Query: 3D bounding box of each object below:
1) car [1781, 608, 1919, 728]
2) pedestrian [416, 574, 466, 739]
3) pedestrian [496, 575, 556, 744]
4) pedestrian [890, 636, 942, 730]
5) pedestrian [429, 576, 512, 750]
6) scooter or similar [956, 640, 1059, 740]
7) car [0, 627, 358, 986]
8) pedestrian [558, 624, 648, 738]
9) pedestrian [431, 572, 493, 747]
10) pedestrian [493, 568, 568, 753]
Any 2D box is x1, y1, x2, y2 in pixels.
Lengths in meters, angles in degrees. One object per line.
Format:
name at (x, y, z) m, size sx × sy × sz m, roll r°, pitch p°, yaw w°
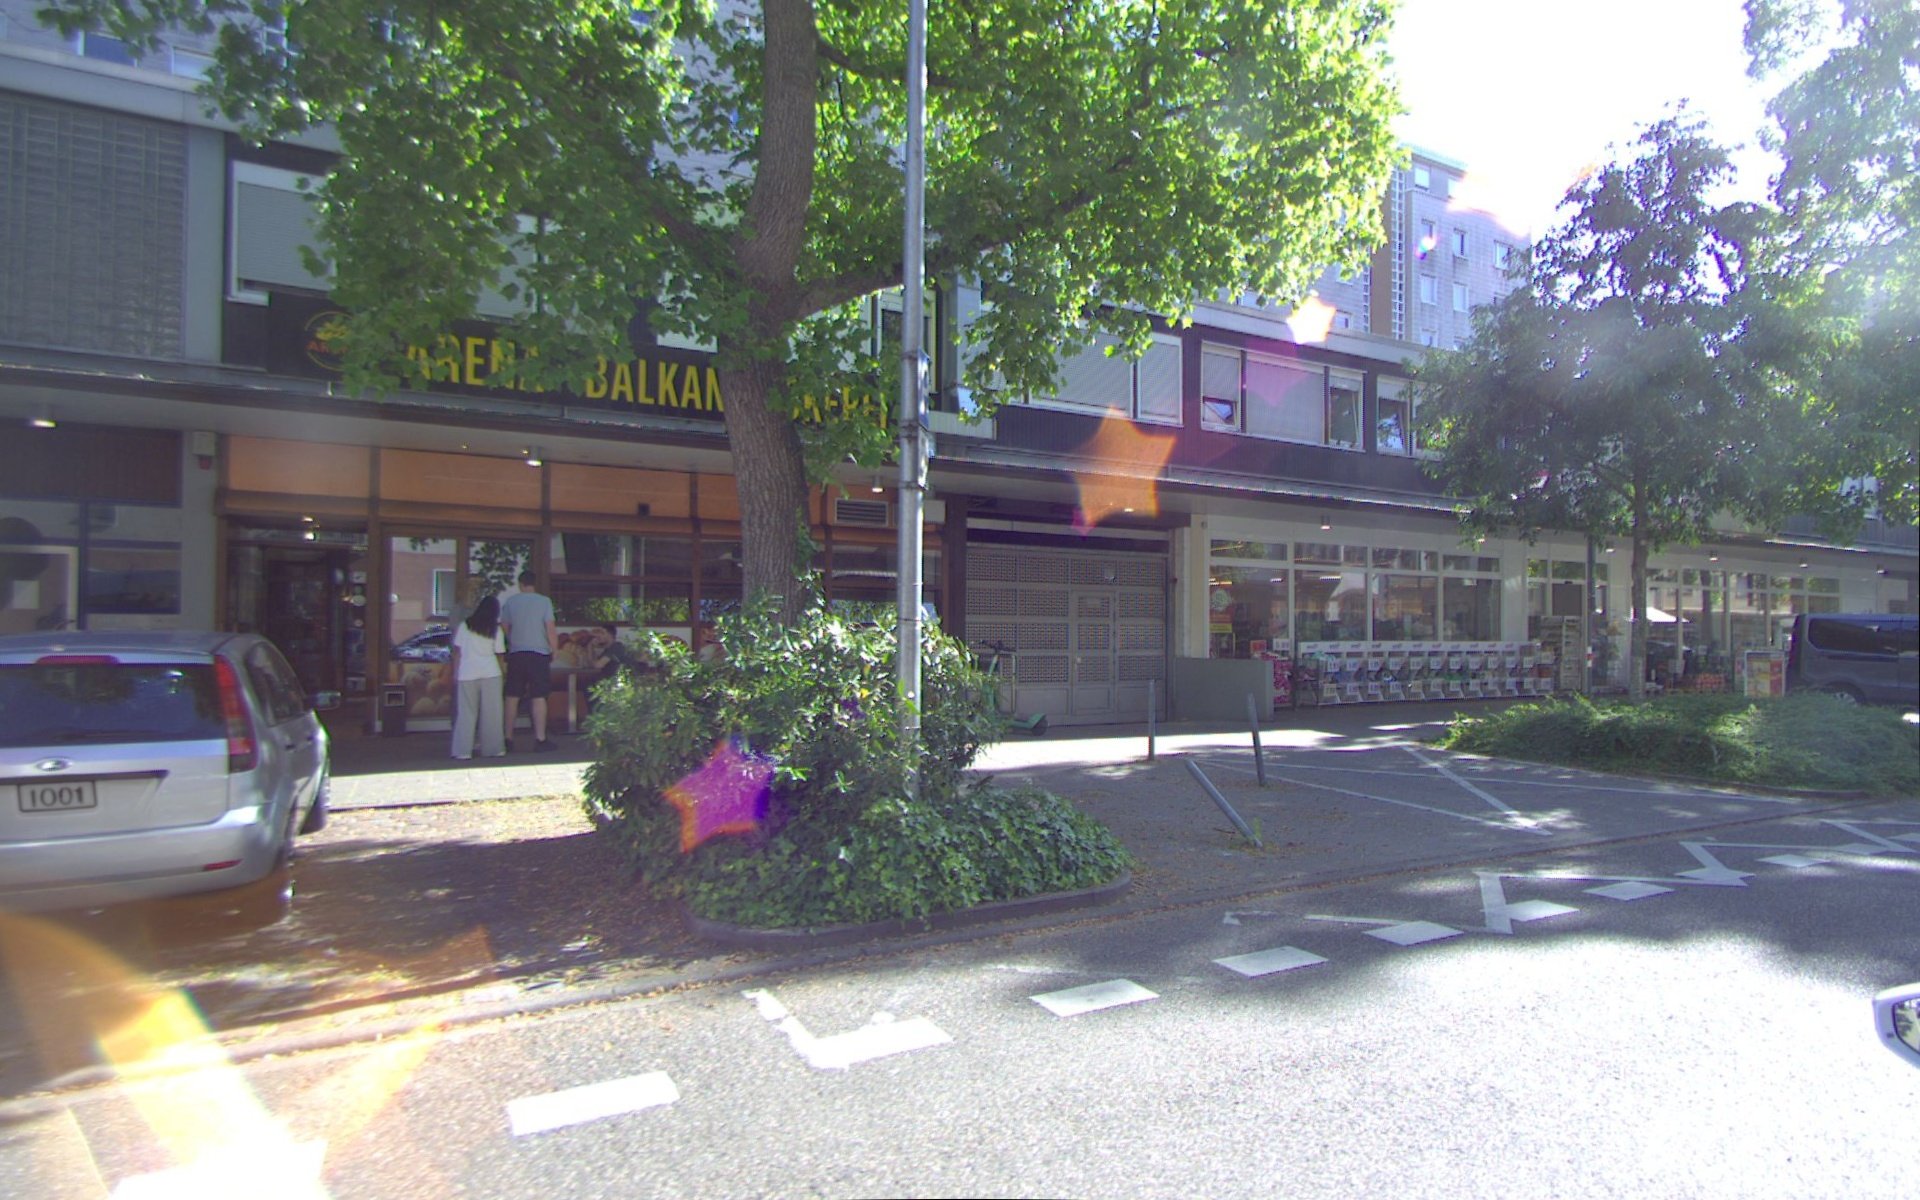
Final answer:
car at (17.351, 1.183, 16.778) m, size 1.990 × 2.000 × 5.272 m, roll 1°, pitch 0°, yaw -27°
pedestrian at (-6.208, 0.664, 12.003) m, size 0.487 × 1.929 × 0.451 m, roll 1°, pitch -1°, yaw -29°
pedestrian at (-5.127, 0.687, 11.853) m, size 0.572 × 1.929 × 0.591 m, roll 1°, pitch -1°, yaw -29°
pedestrian at (-0.614, 1.139, 13.941) m, size 0.629 × 1.257 × 0.326 m, roll 1°, pitch -1°, yaw -31°
pedestrian at (-5.027, 0.638, 10.346) m, size 0.576 × 1.734 × 0.599 m, roll 1°, pitch -1°, yaw -6°
scooter or similar at (0.635, 1.180, 13.525) m, size 1.294 × 1.239 × 0.457 m, roll 1°, pitch 0°, yaw 29°
car at (-4.676, 0.904, 5.821) m, size 1.809 × 1.439 × 3.580 m, roll 1°, pitch -1°, yaw -28°
pedestrian at (-4.436, 0.984, 12.483) m, size 0.943 × 1.359 × 0.561 m, roll 1°, pitch -1°, yaw -30°
pedestrian at (-5.709, 0.666, 11.501) m, size 0.572 × 1.929 × 0.591 m, roll 1°, pitch -1°, yaw -30°
pedestrian at (-4.704, 0.654, 11.028) m, size 0.576 × 1.960 × 0.599 m, roll 1°, pitch -1°, yaw -6°
